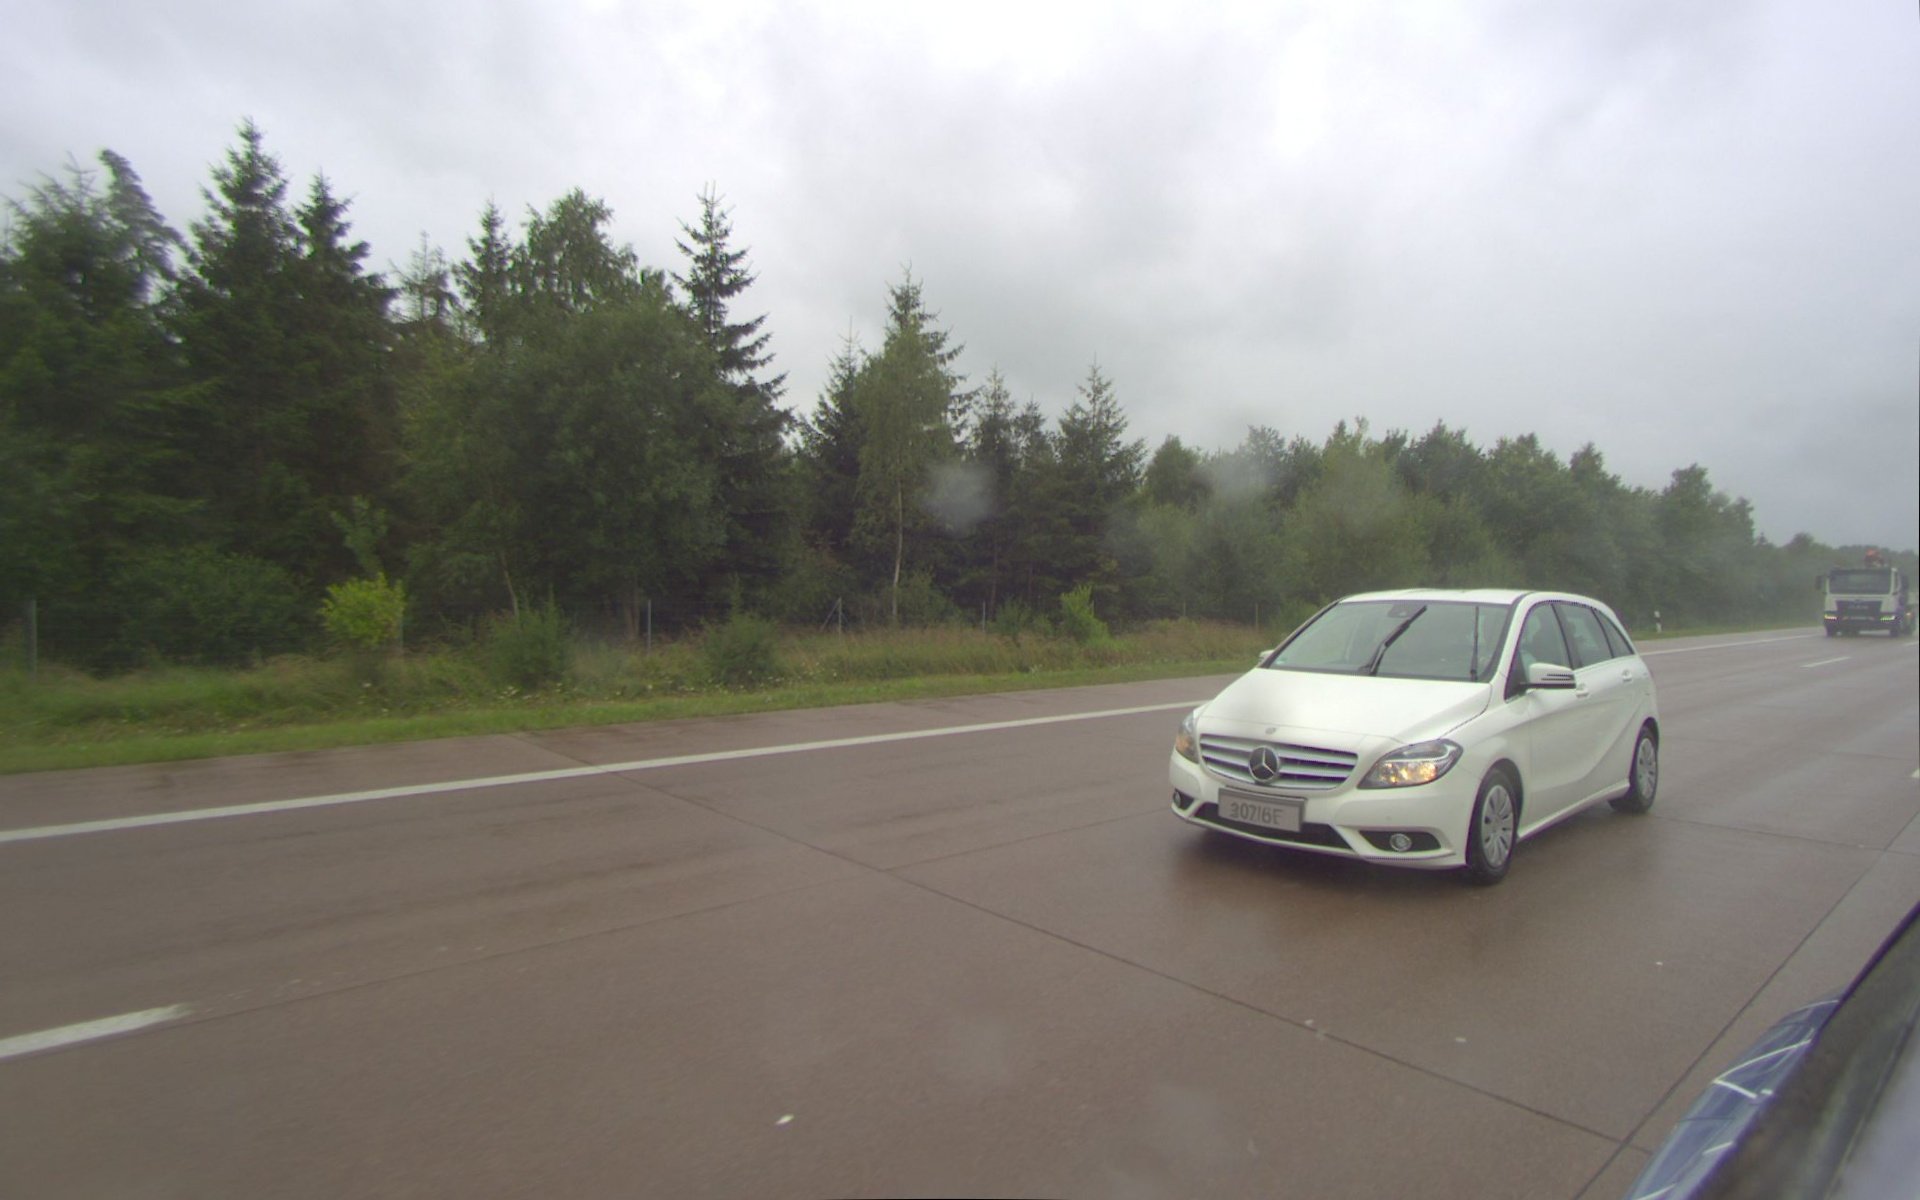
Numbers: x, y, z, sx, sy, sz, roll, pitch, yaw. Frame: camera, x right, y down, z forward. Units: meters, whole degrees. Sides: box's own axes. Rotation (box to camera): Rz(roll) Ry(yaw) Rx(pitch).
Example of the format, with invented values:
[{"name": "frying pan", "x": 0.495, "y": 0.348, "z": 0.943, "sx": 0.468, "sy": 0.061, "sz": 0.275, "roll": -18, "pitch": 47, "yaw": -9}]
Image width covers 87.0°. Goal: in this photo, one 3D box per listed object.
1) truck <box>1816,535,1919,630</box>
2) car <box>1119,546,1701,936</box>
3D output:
[{"name": "truck", "x": 40.179, "y": -0.715, "z": 44.103, "sx": 7.815, "sy": 3.777, "sz": 3.240, "roll": 0, "pitch": 0, "yaw": -41}, {"name": "car", "x": 3.269, "y": 0.627, "z": 6.792, "sx": 4.661, "sy": 1.750, "sz": 1.811, "roll": 0, "pitch": 0, "yaw": -42}]
